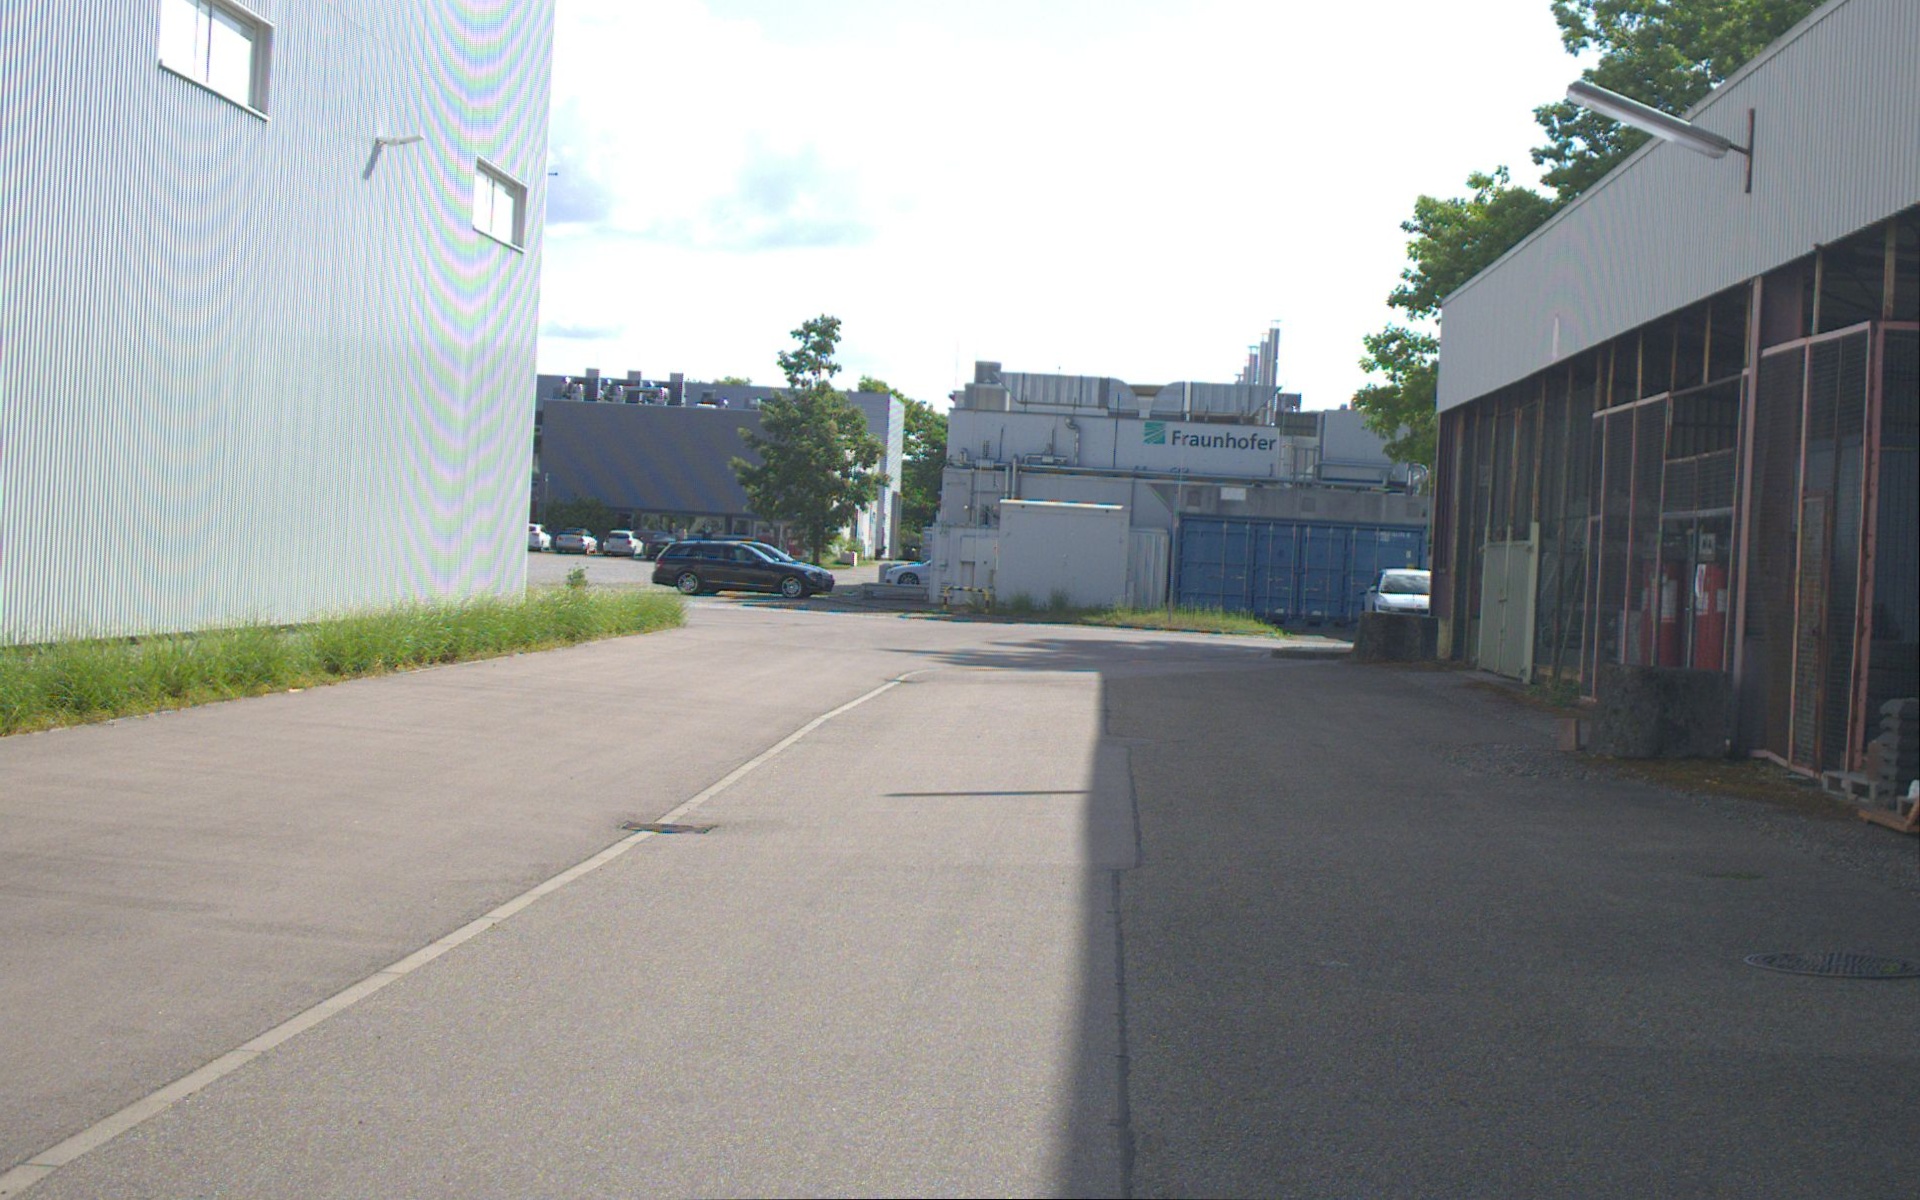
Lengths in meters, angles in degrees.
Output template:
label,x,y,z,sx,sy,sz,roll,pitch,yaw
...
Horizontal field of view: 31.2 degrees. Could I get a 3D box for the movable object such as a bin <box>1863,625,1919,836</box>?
label,x,y,z,sx,sy,sz,roll,pitch,yaw
movable object such as a bin,5.669,0.749,20.029,0.582,1.160,1.238,2,1,6

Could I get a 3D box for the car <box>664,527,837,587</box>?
label,x,y,z,sx,sy,sz,roll,pitch,yaw
car,-5.780,-1.202,95.112,4.527,1.503,1.908,2,1,4

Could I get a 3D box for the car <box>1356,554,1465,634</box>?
label,x,y,z,sx,sy,sz,roll,pitch,yaw
car,10.228,-0.159,78.384,1.993,1.580,4.173,2,2,2

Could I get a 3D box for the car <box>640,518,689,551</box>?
label,x,y,z,sx,sy,sz,roll,pitch,yaw
car,-16.147,-3.580,187.840,2.193,1.730,4.000,1,1,2

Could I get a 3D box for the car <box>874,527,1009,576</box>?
label,x,y,z,sx,sy,sz,roll,pitch,yaw
car,-0.618,-1.672,119.258,4.526,1.503,1.909,2,1,4

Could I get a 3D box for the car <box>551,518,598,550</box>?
label,x,y,z,sx,sy,sz,roll,pitch,yaw
car,-21.232,-3.622,189.440,1.993,1.730,4.000,1,1,2

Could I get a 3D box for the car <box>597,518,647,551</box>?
label,x,y,z,sx,sy,sz,roll,pitch,yaw
car,-18.634,-3.610,189.665,2.193,1.730,4.000,1,1,2

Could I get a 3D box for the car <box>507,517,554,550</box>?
label,x,y,z,sx,sy,sz,roll,pitch,yaw
car,-23.713,-3.670,189.904,1.993,1.730,4.000,1,1,2

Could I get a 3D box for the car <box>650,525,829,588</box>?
label,x,y,z,sx,sy,sz,roll,pitch,yaw
car,-5.876,-1.171,91.876,4.527,1.503,1.908,2,1,4
